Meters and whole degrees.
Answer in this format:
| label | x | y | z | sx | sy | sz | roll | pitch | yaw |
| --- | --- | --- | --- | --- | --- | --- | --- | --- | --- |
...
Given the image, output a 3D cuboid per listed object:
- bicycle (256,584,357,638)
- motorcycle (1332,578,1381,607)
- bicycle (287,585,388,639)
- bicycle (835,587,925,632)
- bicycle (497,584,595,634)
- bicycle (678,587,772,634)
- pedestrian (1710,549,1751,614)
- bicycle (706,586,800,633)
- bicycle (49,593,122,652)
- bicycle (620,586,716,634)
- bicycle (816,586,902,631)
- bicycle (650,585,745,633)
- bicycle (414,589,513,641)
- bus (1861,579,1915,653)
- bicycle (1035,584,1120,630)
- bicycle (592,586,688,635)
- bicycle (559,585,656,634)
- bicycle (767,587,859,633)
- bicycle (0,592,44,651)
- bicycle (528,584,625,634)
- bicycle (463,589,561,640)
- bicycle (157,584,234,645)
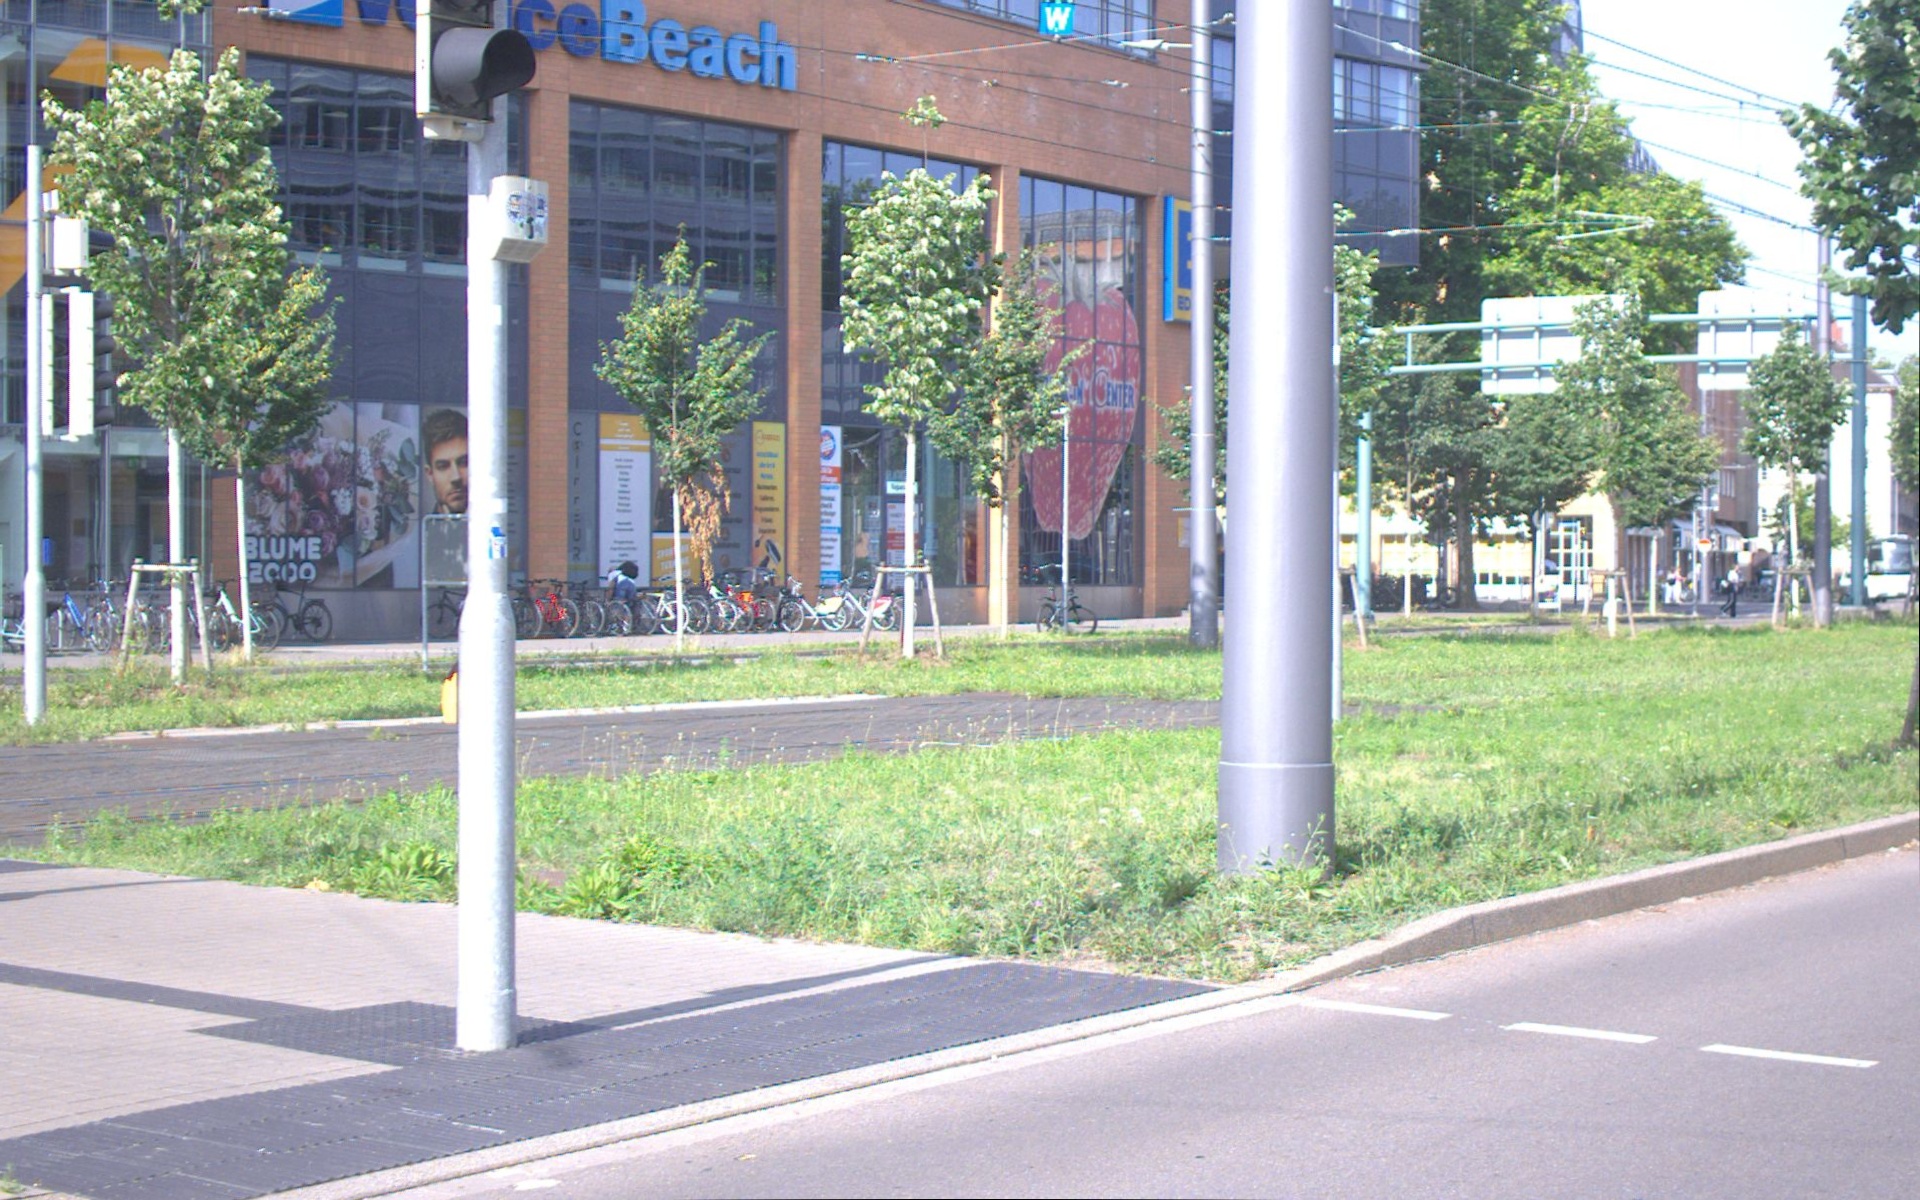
| label | x | y | z | sx | sy | sz | roll | pitch | yaw |
| --- | --- | --- | --- | --- | --- | --- | --- | --- | --- |
| bicycle | -11.500 | 0.191 | 60.459 | 2.053 | 0.918 | 0.572 | 1 | 1 | 39 |
| motorcycle | 14.119 | -0.263 | 122.441 | 1.691 | 0.992 | 0.284 | 1 | 2 | 21 |
| bicycle | -11.059 | 0.207 | 61.048 | 2.053 | 0.918 | 0.572 | 1 | 1 | 39 |
| bicycle | -1.707 | 0.199 | 73.103 | 2.053 | 0.918 | 0.572 | 1 | 1 | 39 |
| bicycle | -7.835 | 0.166 | 64.985 | 2.053 | 0.918 | 0.572 | 1 | 1 | 39 |
| bicycle | -4.738 | 0.208 | 69.206 | 2.053 | 0.918 | 0.572 | 1 | 1 | 39 |
| pedestrian | 24.129 | -0.579 | 107.644 | 1.156 | 2.007 | 0.775 | 1 | -1 | 18 |
| bicycle | -4.216 | 0.190 | 69.939 | 2.053 | 0.918 | 0.572 | 1 | 1 | 39 |
| bicycle | -13.520 | 0.346 | 53.121 | 1.467 | 0.827 | 0.256 | 4 | 1 | 41 |
| bicycle | -5.764 | 0.195 | 67.791 | 2.053 | 0.918 | 0.572 | 1 | 1 | 39 |
| bicycle | -2.136 | 0.183 | 72.506 | 2.053 | 0.918 | 0.380 | 1 | 1 | 39 |
| bicycle | -5.239 | 0.176 | 68.470 | 2.053 | 0.918 | 0.572 | 1 | 1 | 39 |
| bicycle | -9.141 | 0.271 | 63.267 | 2.053 | 0.918 | 0.572 | 1 | 1 | 39 |
| bus | 51.550 | 0.939 | 190.865 | 2.748 | 3.908 | 12.207 | 1 | -1 | 15 |
| bicycle | 2.389 | 0.135 | 70.017 | 1.680 | 0.904 | 0.708 | 1 | 0 | 44 |
| bicycle | -6.241 | 0.205 | 67.073 | 2.053 | 0.918 | 0.572 | 1 | 1 | 39 |
| bicycle | -6.814 | 0.180 | 66.358 | 2.053 | 0.918 | 0.572 | 1 | 1 | 39 |
| bicycle | -3.048 | 0.203 | 71.139 | 2.053 | 0.918 | 0.572 | 1 | 1 | 39 |
| bicycle | -14.418 | 0.319 | 52.050 | 1.467 | 0.884 | 0.256 | 0 | -1 | 41 |
| bicycle | -7.337 | 0.168 | 65.700 | 2.053 | 0.918 | 0.572 | 1 | 1 | 39 |
| bicycle | -8.392 | 0.260 | 64.340 | 2.053 | 0.918 | 0.572 | 1 | 1 | 39 |
| bicycle | -12.154 | 0.223 | 54.637 | 0.410 | 0.937 | 1.583 | 0 | 1 | -45 |
